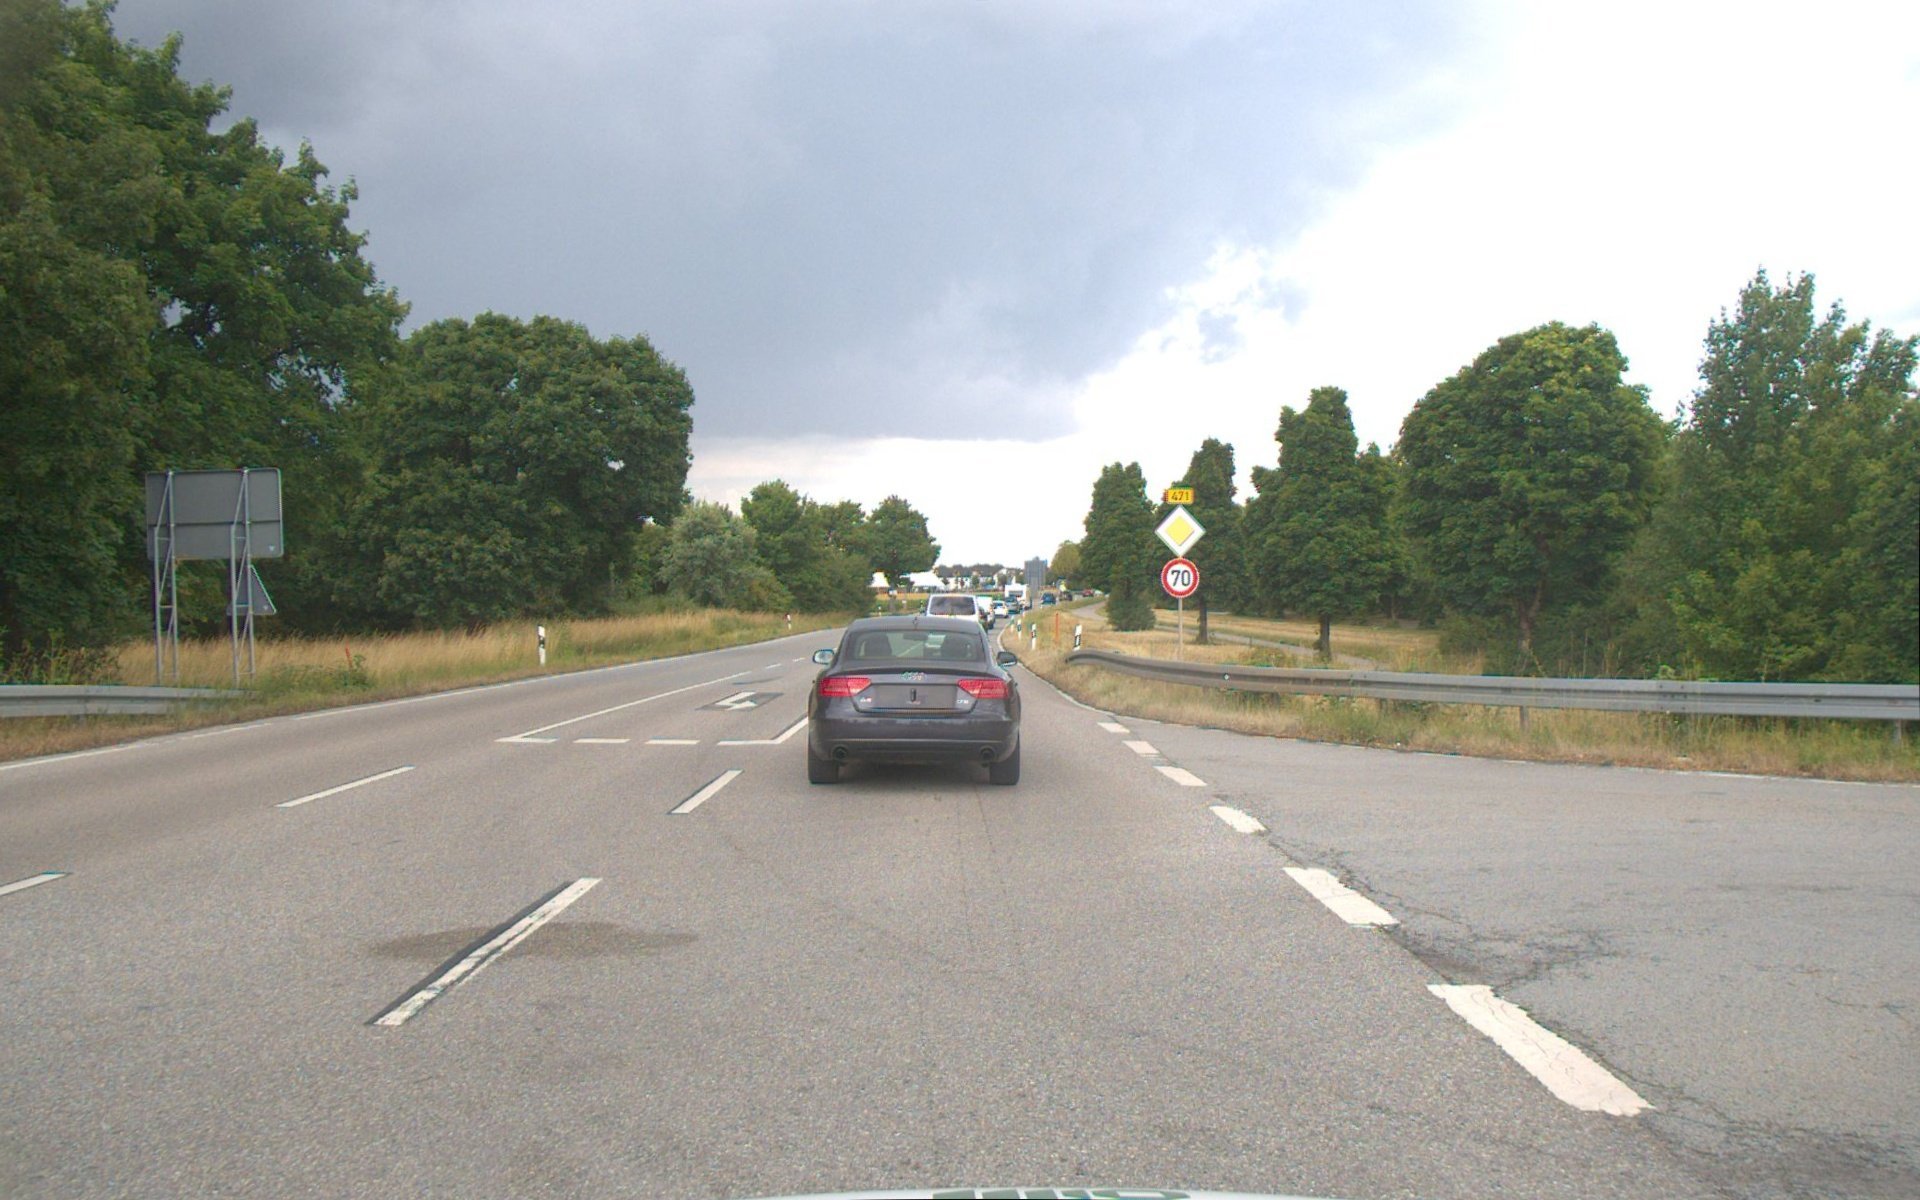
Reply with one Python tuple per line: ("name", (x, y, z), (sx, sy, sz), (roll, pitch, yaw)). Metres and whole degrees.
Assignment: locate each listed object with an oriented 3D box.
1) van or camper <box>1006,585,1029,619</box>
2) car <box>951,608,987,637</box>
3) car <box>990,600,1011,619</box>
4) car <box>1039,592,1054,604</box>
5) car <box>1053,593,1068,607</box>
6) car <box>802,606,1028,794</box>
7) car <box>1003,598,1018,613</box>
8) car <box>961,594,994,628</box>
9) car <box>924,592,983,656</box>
("van or camper", (5.981, 0.211, 173.557), (2.292, 3.542, 5.719), (0, 0, 1))
("car", (0.492, 1.186, 88.051), (1.758, 1.490, 3.249), (0, 0, 3))
("car", (3.394, 0.791, 137.991), (1.700, 1.541, 3.747), (0, 0, 1))
("car", (11.272, -0.268, 216.231), (1.683, 1.477, 4.000), (1, 0, 0))
("car", (14.663, 0.045, 241.317), (1.953, 2.049, 3.999), (0, 0, -1))
("car", (-0.379, 0.792, 14.915), (1.746, 1.400, 3.999), (1, 0, -1))
("car", (4.712, 0.534, 154.484), (1.232, 1.377, 3.465), (0, 0, 0))
("car", (1.119, 0.672, 103.599), (1.952, 2.125, 4.001), (0, 0, 2))
("car", (-0.230, 0.733, 52.642), (1.801, 1.915, 3.999), (1, 0, -1))
